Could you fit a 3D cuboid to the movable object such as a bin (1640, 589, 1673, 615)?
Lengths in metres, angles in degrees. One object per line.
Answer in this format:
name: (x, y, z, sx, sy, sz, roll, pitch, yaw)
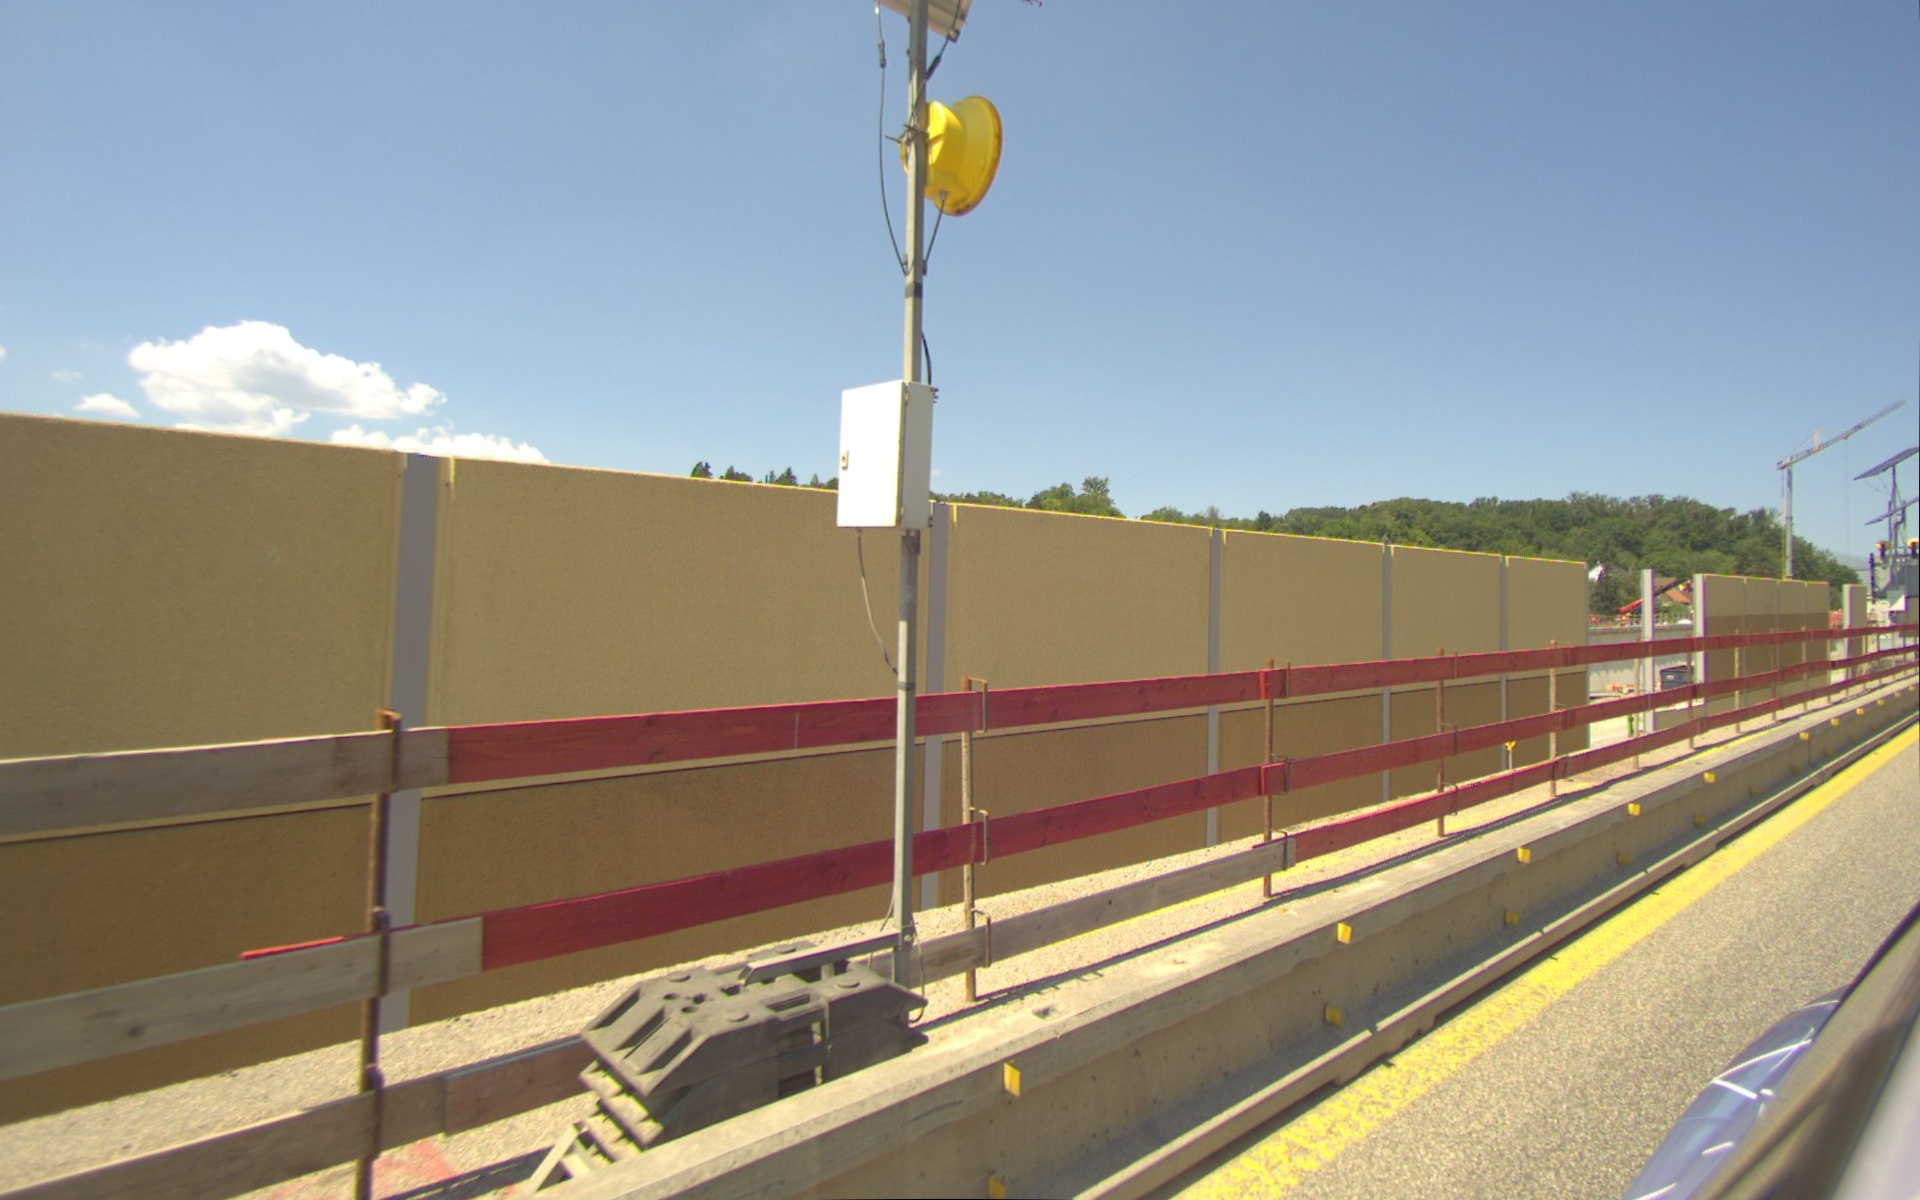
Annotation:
movable object such as a bin: (85.473, 0.258, 124.127, 4.830, 3.123, 2.201, 1, -1, -40)
